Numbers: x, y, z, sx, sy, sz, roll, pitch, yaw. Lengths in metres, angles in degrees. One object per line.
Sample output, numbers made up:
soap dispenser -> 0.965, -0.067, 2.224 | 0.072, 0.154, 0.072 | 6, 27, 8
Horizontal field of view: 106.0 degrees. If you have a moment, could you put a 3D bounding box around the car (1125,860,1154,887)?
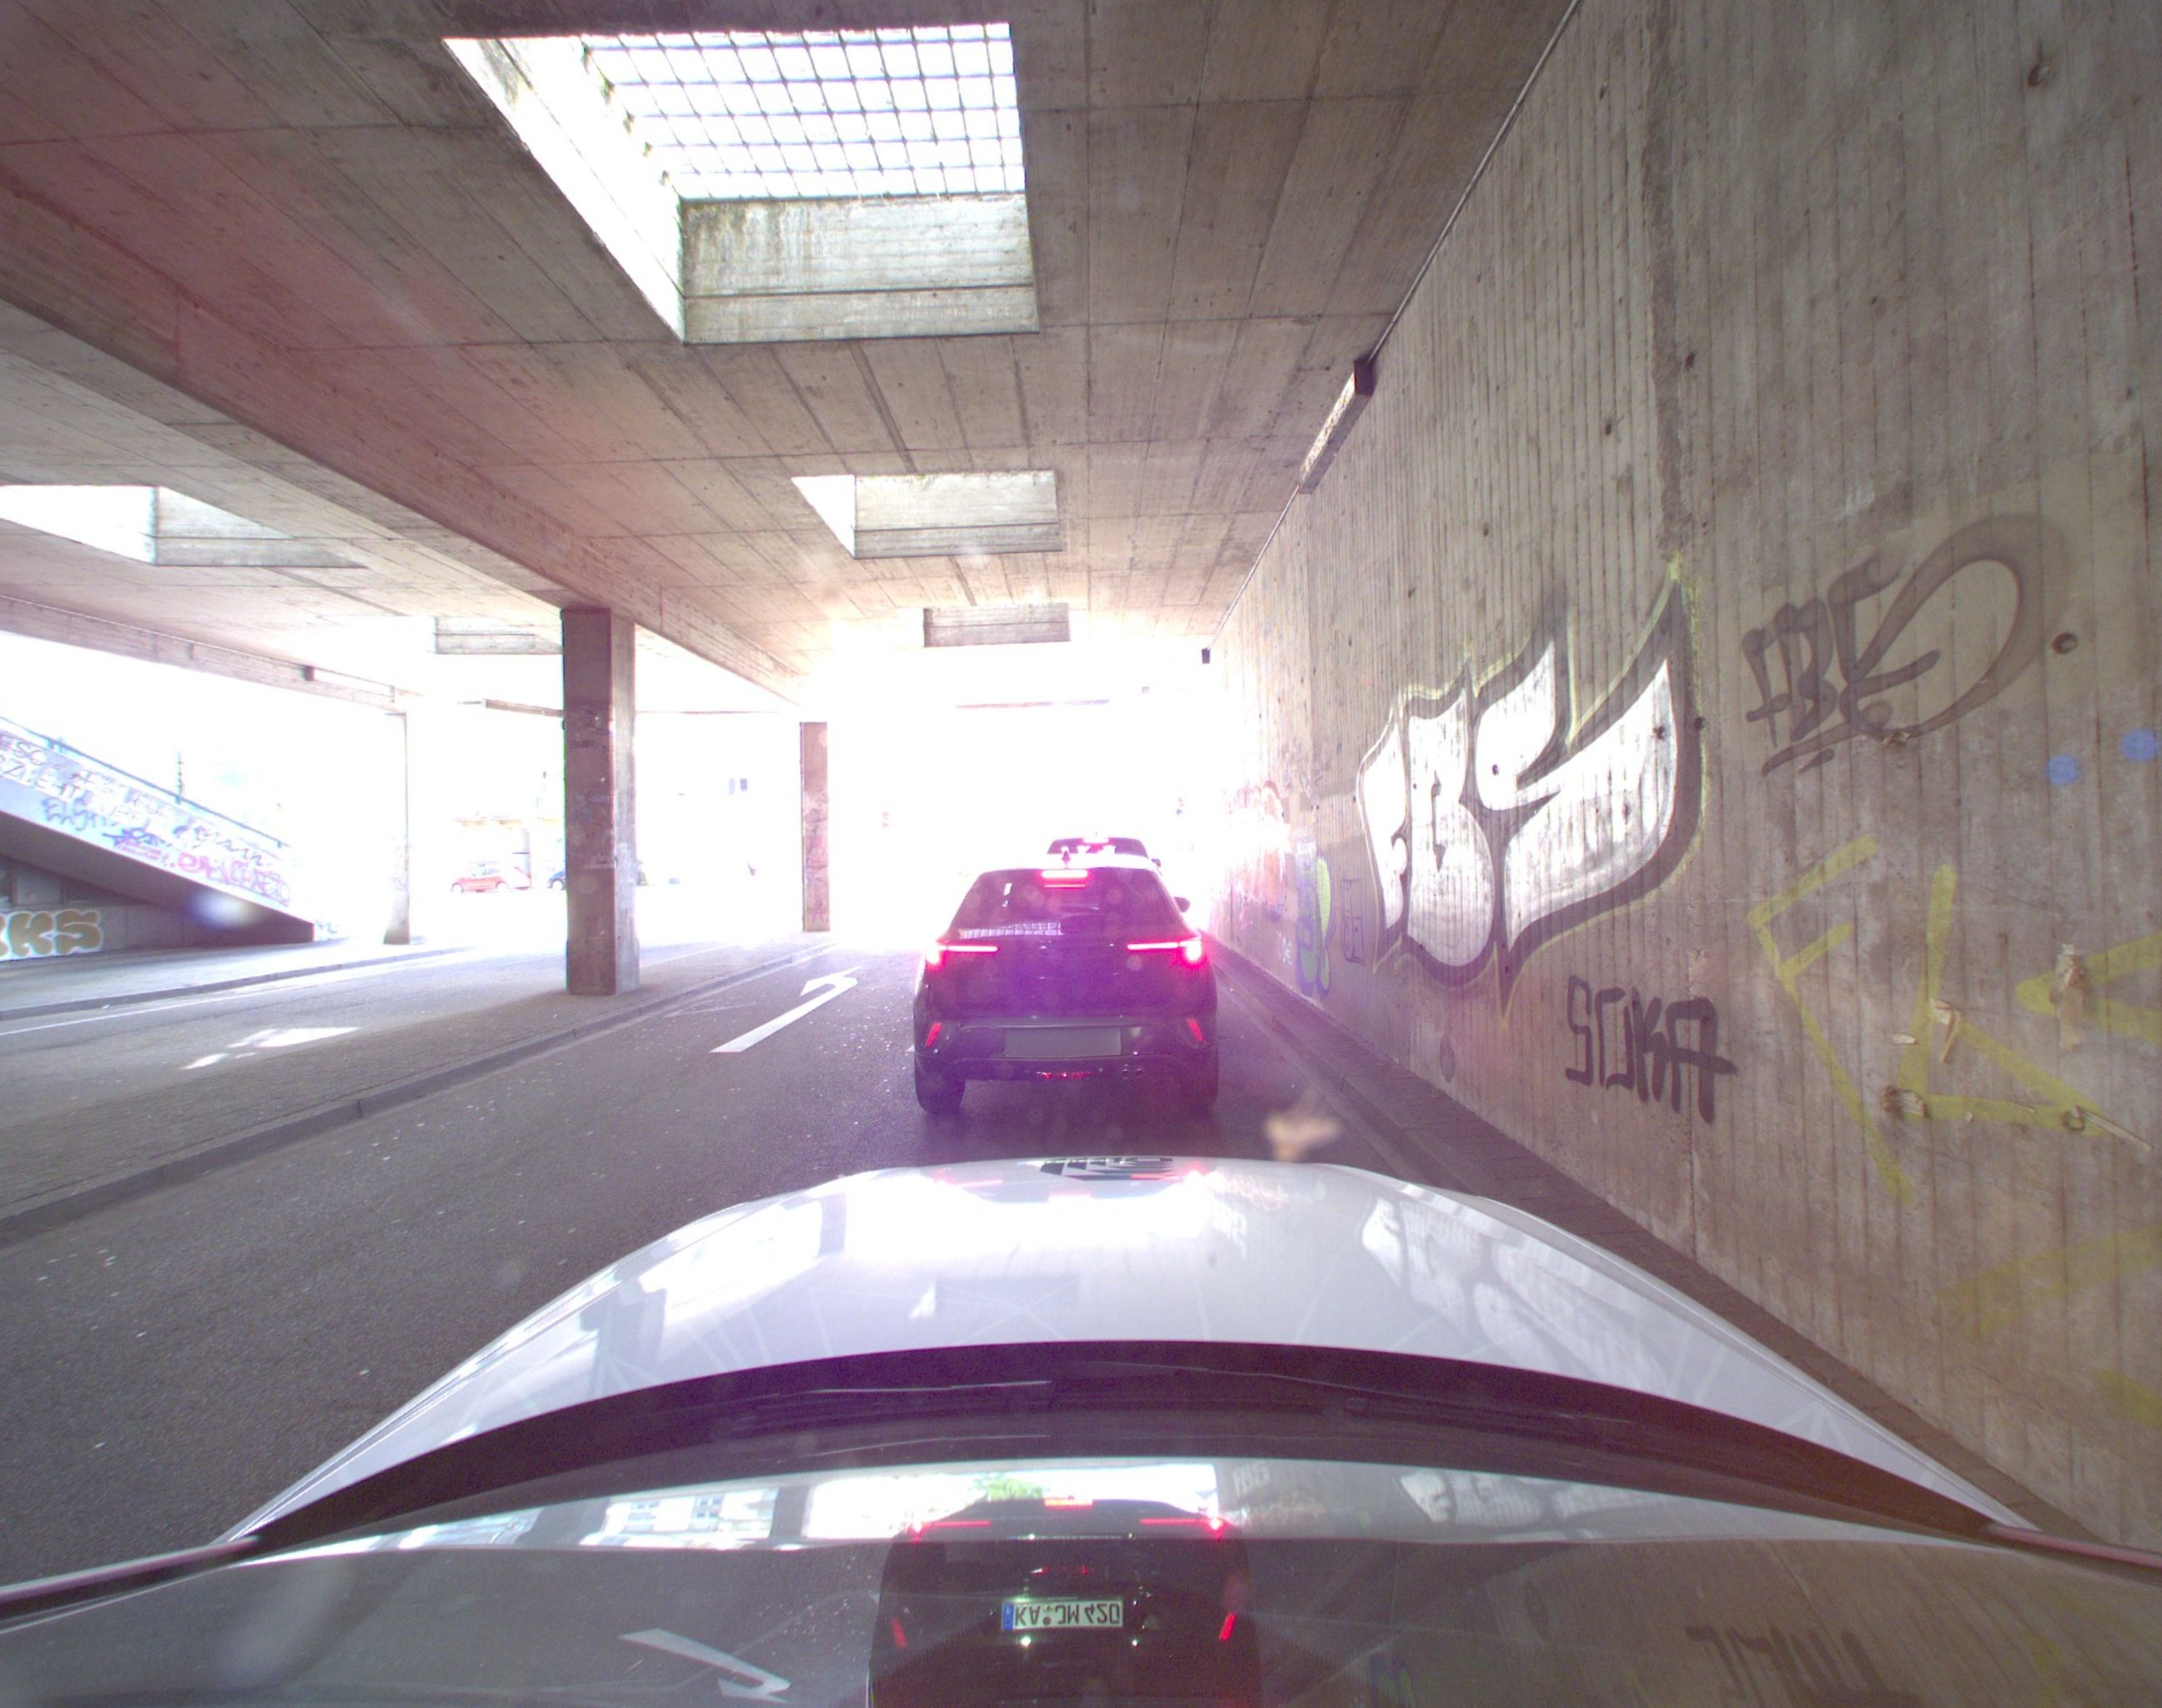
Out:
car -> 4.516, 1.448, 62.365 | 1.983, 1.970, 4.172 | 0, -1, 7

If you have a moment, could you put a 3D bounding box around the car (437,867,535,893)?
car -> -33.045, 1.430, 45.278 | 3.975, 1.409, 1.925 | 0, -1, -1

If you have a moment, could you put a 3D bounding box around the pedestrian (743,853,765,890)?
pedestrian -> -14.612, 0.783, 36.366 | 0.669, 1.637, 0.741 | 0, -1, 1

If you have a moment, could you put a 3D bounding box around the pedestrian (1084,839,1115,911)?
pedestrian -> 0.458, 0.520, 20.070 | 0.728, 1.734, 0.874 | 0, -1, 1

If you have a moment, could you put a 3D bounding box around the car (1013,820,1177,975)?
car -> 0.237, 0.543, 12.153 | 1.986, 1.871, 4.002 | -2, 0, 2

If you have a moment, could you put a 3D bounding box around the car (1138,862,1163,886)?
car -> 6.059, 1.722, 70.905 | 1.983, 1.970, 4.172 | 0, -1, 7

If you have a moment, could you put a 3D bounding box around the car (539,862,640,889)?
car -> -27.294, 1.178, 45.311 | 4.393, 1.409, 1.925 | 0, -1, -1

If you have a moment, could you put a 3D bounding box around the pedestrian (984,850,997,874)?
pedestrian -> -7.977, 0.716, 71.716 | 0.887, 2.088, 0.810 | -1, -1, 9

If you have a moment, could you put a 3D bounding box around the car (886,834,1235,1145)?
car -> -0.040, 0.654, 6.134 | 1.758, 1.571, 4.002 | 0, 1, 2
